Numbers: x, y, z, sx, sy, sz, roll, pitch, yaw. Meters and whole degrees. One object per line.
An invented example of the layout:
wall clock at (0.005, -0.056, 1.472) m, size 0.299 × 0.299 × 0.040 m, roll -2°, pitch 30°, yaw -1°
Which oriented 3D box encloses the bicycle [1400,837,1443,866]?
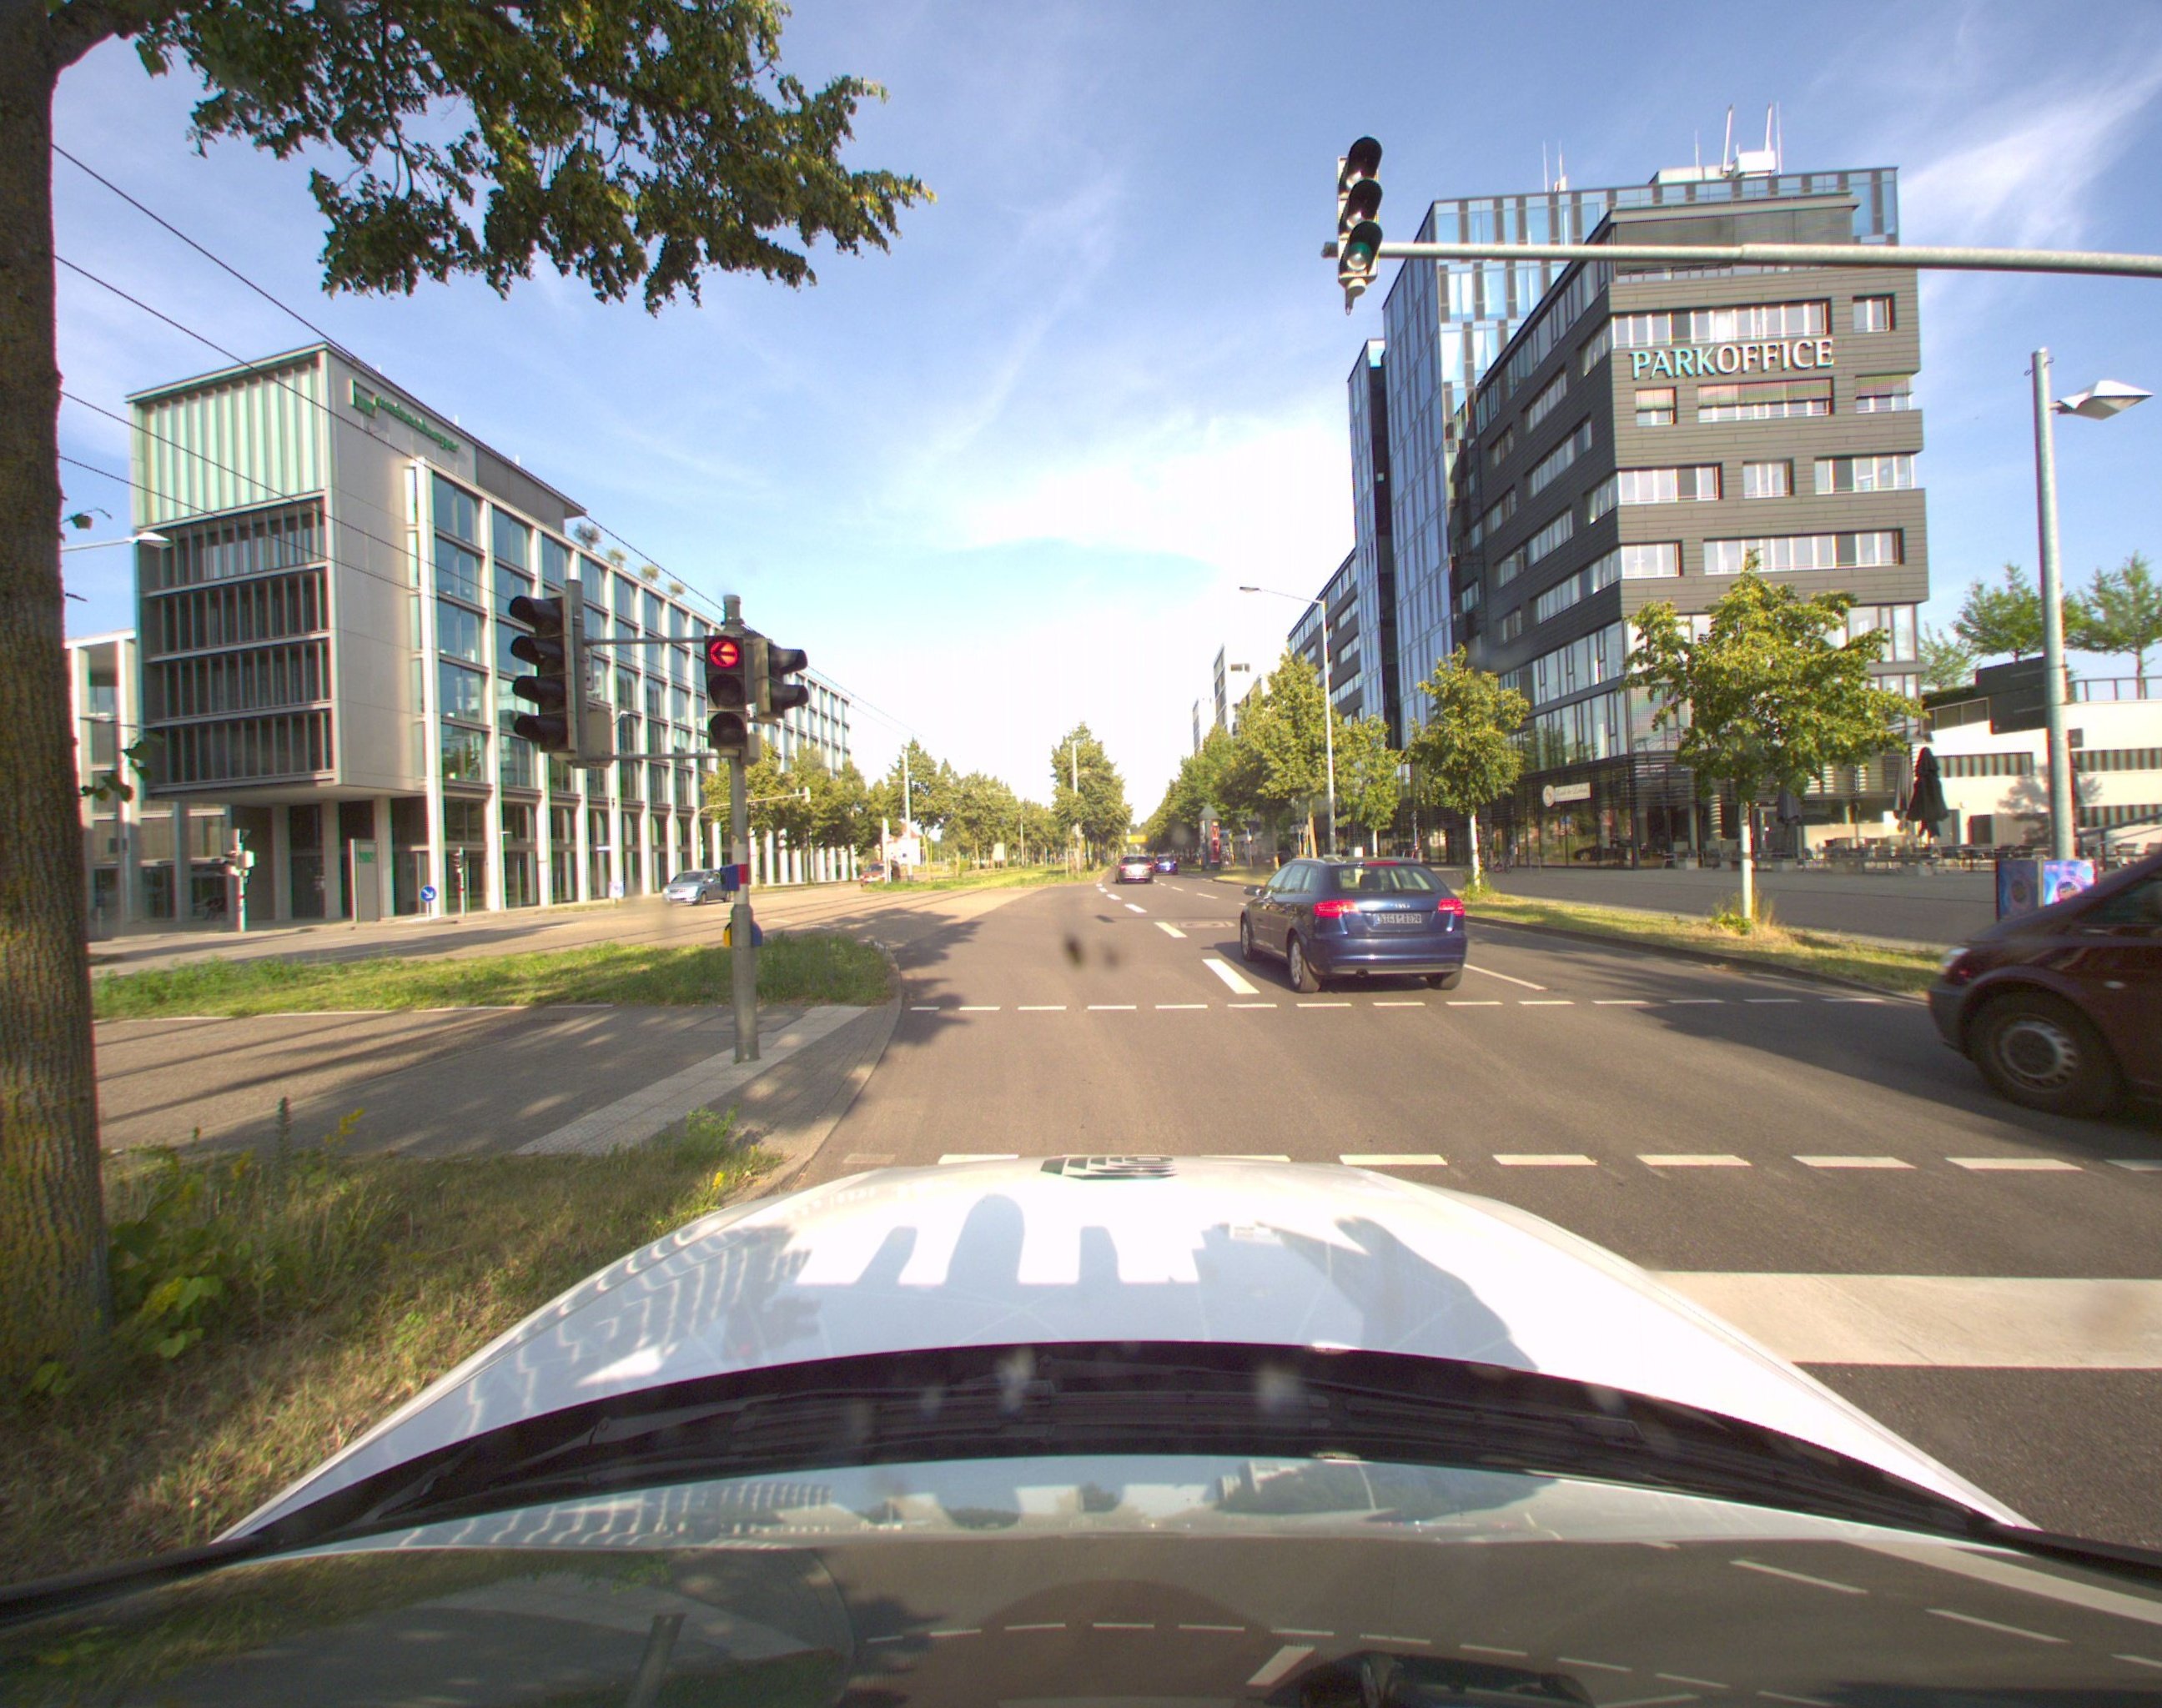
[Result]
bicycle at (22.137, -0.152, 52.998) m, size 2.547 × 1.857 × 0.571 m, roll -1°, pitch -1°, yaw 12°

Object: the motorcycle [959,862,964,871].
motorcycle at (-18.826, 1.977, 128.417) m, size 0.472 × 1.531 × 1.993 m, roll 0°, pitch -1°, yaw 2°

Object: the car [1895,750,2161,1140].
car at (6.097, 0.429, 2.858) m, size 1.792 × 1.891 × 4.824 m, roll 0°, pitch 0°, yaw 2°

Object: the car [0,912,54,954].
car at (-40.577, 2.928, 30.264) m, size 3.477 × 1.424 × 1.581 m, roll -1°, pitch -1°, yaw 12°

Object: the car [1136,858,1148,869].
car at (10.000, 1.499, 133.306) m, size 1.818 × 1.786 × 4.001 m, roll 0°, pitch 0°, yaw 2°

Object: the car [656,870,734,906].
car at (-17.139, 1.473, 36.331) m, size 1.633 × 1.443 × 3.955 m, roll 0°, pitch 0°, yaw -1°

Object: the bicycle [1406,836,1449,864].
bicycle at (22.174, -0.237, 52.122) m, size 2.418 × 1.746 × 0.556 m, roll -1°, pitch -1°, yaw 12°

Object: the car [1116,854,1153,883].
car at (2.700, 0.722, 41.780) m, size 1.689 × 1.424 × 4.039 m, roll 0°, pitch 0°, yaw 0°

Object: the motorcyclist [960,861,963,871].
motorcyclist at (-18.843, 1.967, 128.399) m, size 0.484 × 1.564 × 0.455 m, roll 0°, pitch -1°, yaw 1°

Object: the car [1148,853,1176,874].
car at (5.722, 0.628, 57.751) m, size 1.556 × 1.424 × 3.905 m, roll 0°, pitch 0°, yaw -1°

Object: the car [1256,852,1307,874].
car at (13.619, 0.577, 55.242) m, size 1.757 × 1.424 × 3.985 m, roll -1°, pitch -1°, yaw 40°

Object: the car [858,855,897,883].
car at (-13.690, 0.987, 55.012) m, size 1.679 × 1.775 × 3.881 m, roll 0°, pitch 0°, yaw -1°

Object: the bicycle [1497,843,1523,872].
bicycle at (20.662, 0.186, 39.260) m, size 0.371 × 1.346 × 1.896 m, roll 0°, pitch -1°, yaw 4°

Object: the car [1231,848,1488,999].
car at (3.047, 0.685, 9.844) m, size 1.746 × 1.435 × 4.035 m, roll 0°, pitch 0°, yaw 0°
